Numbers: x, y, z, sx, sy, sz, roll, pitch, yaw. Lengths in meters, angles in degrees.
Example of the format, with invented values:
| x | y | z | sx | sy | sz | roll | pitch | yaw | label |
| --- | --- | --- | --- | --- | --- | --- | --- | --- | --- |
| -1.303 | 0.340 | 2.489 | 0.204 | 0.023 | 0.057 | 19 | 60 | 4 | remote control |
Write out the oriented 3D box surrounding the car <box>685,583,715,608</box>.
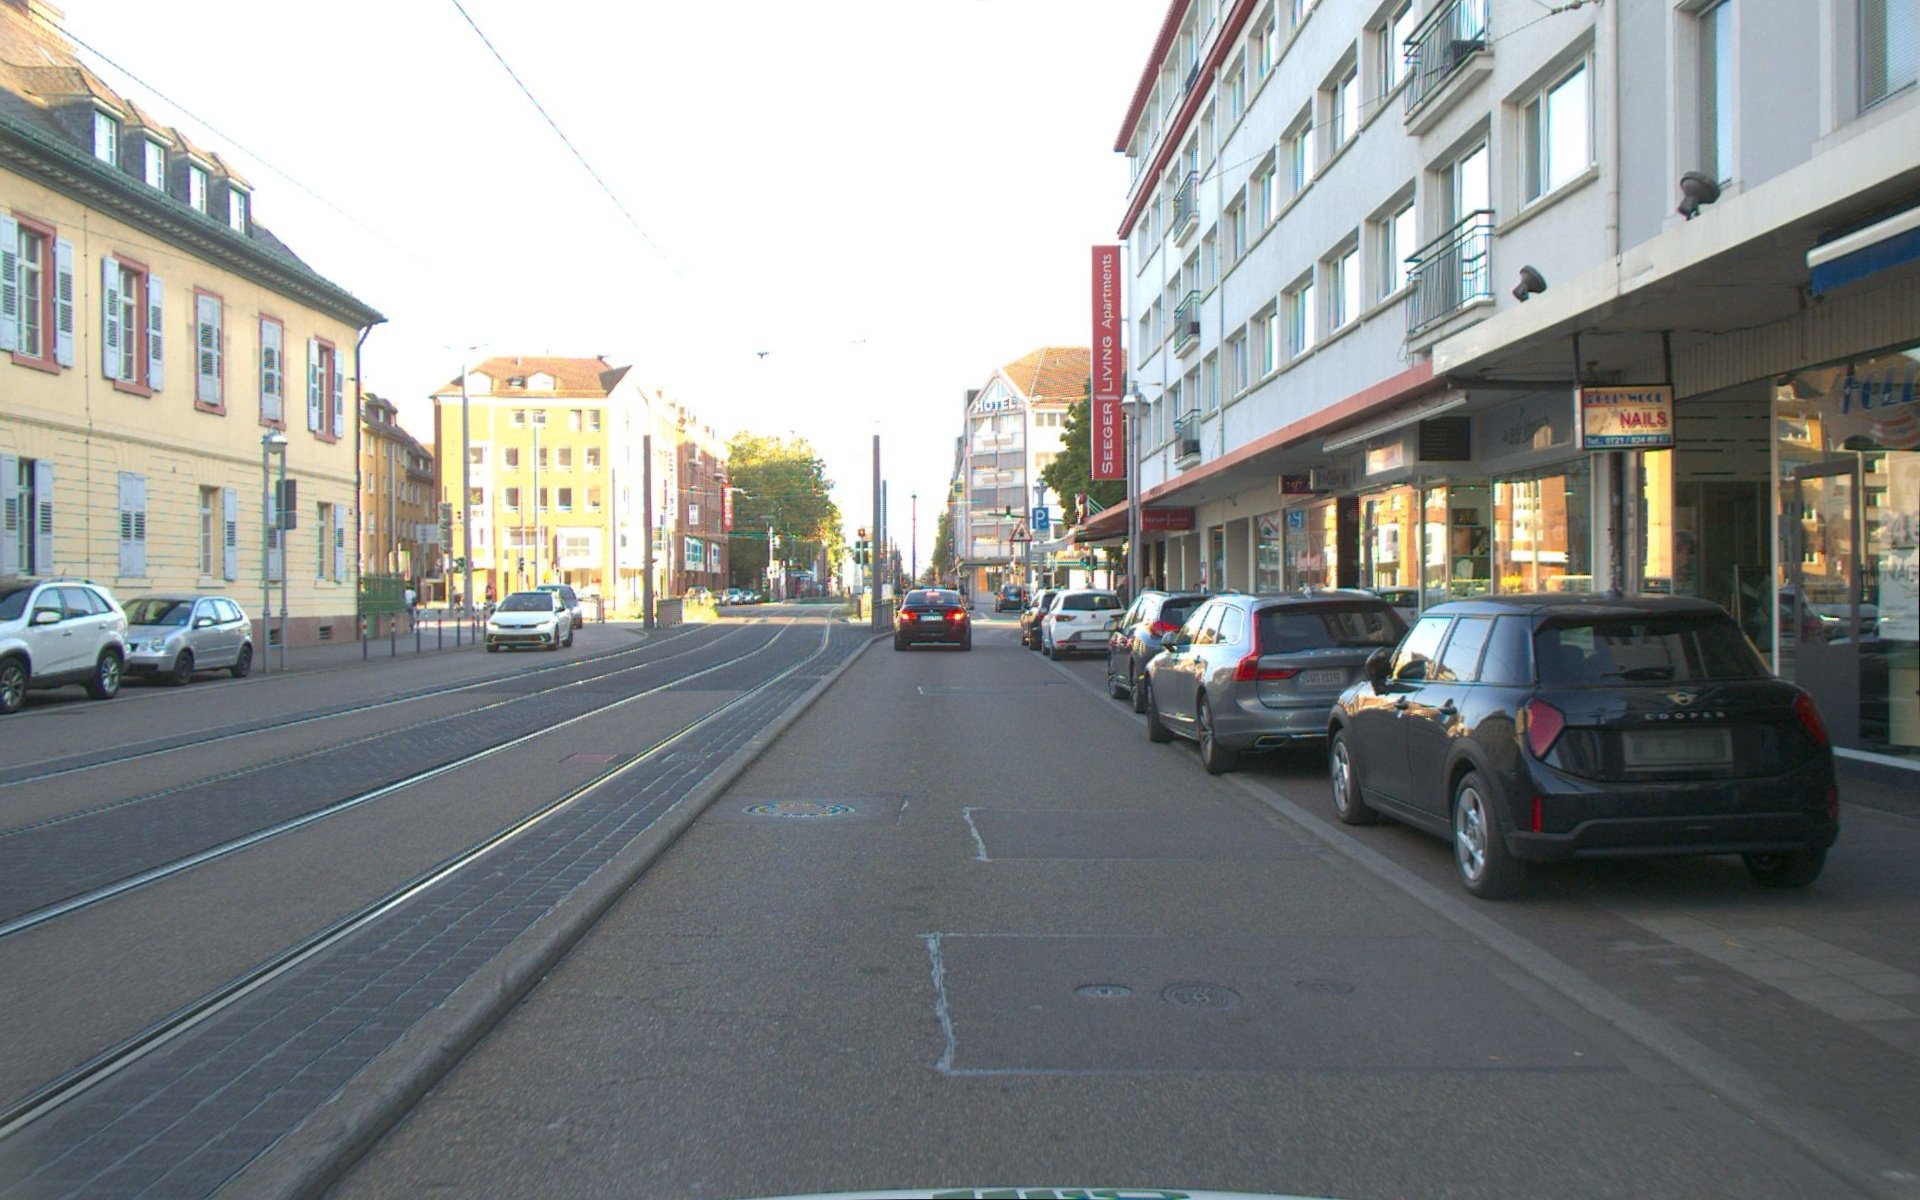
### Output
| x | y | z | sx | sy | sz | roll | pitch | yaw | label |
| --- | --- | --- | --- | --- | --- | --- | --- | --- | --- |
| -21.180 | -0.390 | 134.920 | 1.954 | 1.934 | 4.808 | -1 | 1 | -4 | car |

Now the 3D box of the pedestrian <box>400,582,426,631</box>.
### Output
| x | y | z | sx | sy | sz | roll | pitch | yaw | label |
| --- | --- | --- | --- | --- | --- | --- | --- | --- | --- |
| -17.952 | 0.209 | 54.244 | 0.721 | 1.612 | 0.948 | -1 | 0 | -24 | pedestrian |

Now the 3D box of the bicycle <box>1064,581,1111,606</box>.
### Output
| x | y | z | sx | sy | sz | roll | pitch | yaw | label |
| --- | --- | --- | --- | --- | --- | --- | --- | --- | --- |
| 5.405 | -0.265 | 70.139 | 0.832 | 1.038 | 2.049 | -1 | 1 | -38 | bicycle |

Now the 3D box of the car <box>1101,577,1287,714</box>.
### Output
| x | y | z | sx | sy | sz | roll | pitch | yaw | label |
| --- | --- | --- | --- | --- | --- | --- | --- | --- | --- |
| 2.913 | 0.508 | 21.425 | 1.700 | 1.538 | 4.303 | -2 | 1 | -1 | car |

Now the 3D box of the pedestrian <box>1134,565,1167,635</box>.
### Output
| x | y | z | sx | sy | sz | roll | pitch | yaw | label |
| --- | --- | --- | --- | --- | --- | --- | --- | --- | --- |
| 4.940 | -0.011 | 42.926 | 0.714 | 1.771 | 0.863 | -2 | 0 | -1 | pedestrian |

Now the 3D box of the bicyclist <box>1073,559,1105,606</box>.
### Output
| x | y | z | sx | sy | sz | roll | pitch | yaw | label |
| --- | --- | --- | --- | --- | --- | --- | --- | --- | --- |
| 5.456 | -0.748 | 70.089 | 0.832 | 1.951 | 1.100 | -1 | 0 | -38 | bicyclist |

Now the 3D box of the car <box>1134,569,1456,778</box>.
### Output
| x | y | z | sx | sy | sz | roll | pitch | yaw | label |
| --- | --- | --- | --- | --- | --- | --- | --- | --- | --- |
| 2.812 | 0.534 | 14.993 | 1.754 | 1.538 | 4.710 | -2 | 1 | -2 | car |

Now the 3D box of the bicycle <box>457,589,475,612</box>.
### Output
| x | y | z | sx | sy | sz | roll | pitch | yaw | label |
| --- | --- | --- | --- | --- | --- | --- | --- | --- | --- |
| -30.193 | 0.041 | 101.110 | 0.606 | 1.348 | 2.014 | 2 | 0 | -5 | bicycle |

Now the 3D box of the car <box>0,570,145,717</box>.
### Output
| x | y | z | sx | sy | sz | roll | pitch | yaw | label |
| --- | --- | --- | --- | --- | --- | --- | --- | --- | --- |
| -13.083 | 0.516 | 22.646 | 1.776 | 1.817 | 4.495 | 2 | 0 | -3 | car |

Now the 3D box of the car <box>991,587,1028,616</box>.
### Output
| x | y | z | sx | sy | sz | roll | pitch | yaw | label |
| --- | --- | --- | --- | --- | --- | --- | --- | --- | --- |
| 2.817 | 0.081 | 94.805 | 1.953 | 1.579 | 3.999 | 0 | 1 | -1 | car |

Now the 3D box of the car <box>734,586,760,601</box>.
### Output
| x | y | z | sx | sy | sz | roll | pitch | yaw | label |
| --- | --- | --- | --- | --- | --- | --- | --- | --- | --- |
| -21.995 | -0.702 | 170.828 | 1.633 | 1.473 | 4.205 | 0 | 0 | 7 | car |

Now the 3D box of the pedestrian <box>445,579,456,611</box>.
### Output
| x | y | z | sx | sy | sz | roll | pitch | yaw | label |
| --- | --- | --- | --- | --- | --- | --- | --- | --- | --- |
| -30.929 | -0.315 | 100.364 | 0.492 | 1.900 | 0.562 | 2 | 0 | -6 | pedestrian |

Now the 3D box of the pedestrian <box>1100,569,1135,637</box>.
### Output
| x | y | z | sx | sy | sz | roll | pitch | yaw | label |
| --- | --- | --- | --- | --- | --- | --- | --- | --- | --- |
| 4.176 | 0.072 | 43.870 | 0.810 | 1.748 | 0.843 | -2 | 0 | -1 | pedestrian |

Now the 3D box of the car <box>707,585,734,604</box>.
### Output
| x | y | z | sx | sy | sz | roll | pitch | yaw | label |
| --- | --- | --- | --- | --- | --- | --- | --- | --- | --- |
| -21.080 | -0.463 | 145.776 | 1.954 | 1.612 | 4.584 | -1 | 1 | -4 | car |

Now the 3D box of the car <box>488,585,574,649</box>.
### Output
| x | y | z | sx | sy | sz | roll | pitch | yaw | label |
| --- | --- | --- | --- | --- | --- | --- | --- | --- | --- |
| -11.035 | 0.397 | 42.760 | 1.773 | 1.538 | 4.026 | -1 | 1 | -9 | car |

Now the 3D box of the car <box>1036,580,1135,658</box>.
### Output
| x | y | z | sx | sy | sz | roll | pitch | yaw | label |
| --- | --- | --- | --- | --- | --- | --- | --- | --- | --- |
| 2.649 | 0.362 | 35.663 | 1.749 | 1.538 | 4.051 | -2 | 1 | -1 | car |

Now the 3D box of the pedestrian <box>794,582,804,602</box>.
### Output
| x | y | z | sx | sy | sz | roll | pitch | yaw | label |
| --- | --- | --- | --- | --- | --- | --- | --- | --- | --- |
| -17.043 | -0.826 | 174.620 | 0.968 | 2.049 | 0.725 | 1 | 0 | -3 | pedestrian |

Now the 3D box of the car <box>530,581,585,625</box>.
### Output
| x | y | z | sx | sy | sz | roll | pitch | yaw | label |
| --- | --- | --- | --- | --- | --- | --- | --- | --- | --- |
| -14.681 | 0.079 | 60.435 | 1.704 | 1.538 | 4.025 | -1 | 1 | -10 | car |

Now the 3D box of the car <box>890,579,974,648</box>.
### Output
| x | y | z | sx | sy | sz | roll | pitch | yaw | label |
| --- | --- | --- | --- | --- | --- | --- | --- | --- | --- |
| -0.690 | 0.295 | 40.867 | 1.953 | 1.612 | 3.999 | -1 | 1 | -1 | car |

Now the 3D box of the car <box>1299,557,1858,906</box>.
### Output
| x | y | z | sx | sy | sz | roll | pitch | yaw | label |
| --- | --- | --- | --- | --- | --- | --- | --- | --- | --- |
| 3.241 | 0.579 | 9.573 | 1.651 | 1.538 | 4.034 | -2 | 1 | -1 | car |

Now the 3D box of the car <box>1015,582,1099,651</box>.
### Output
| x | y | z | sx | sy | sz | roll | pitch | yaw | label |
| --- | --- | --- | --- | --- | --- | --- | --- | --- | --- |
| 2.340 | 0.361 | 40.950 | 1.700 | 1.538 | 4.685 | -2 | 1 | -1 | car |

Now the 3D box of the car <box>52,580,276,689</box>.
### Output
| x | y | z | sx | sy | sz | roll | pitch | yaw | label |
| --- | --- | --- | --- | --- | --- | --- | --- | --- | --- |
| -13.416 | 0.520 | 28.166 | 1.775 | 1.645 | 4.214 | 1 | 1 | -1 | car |
